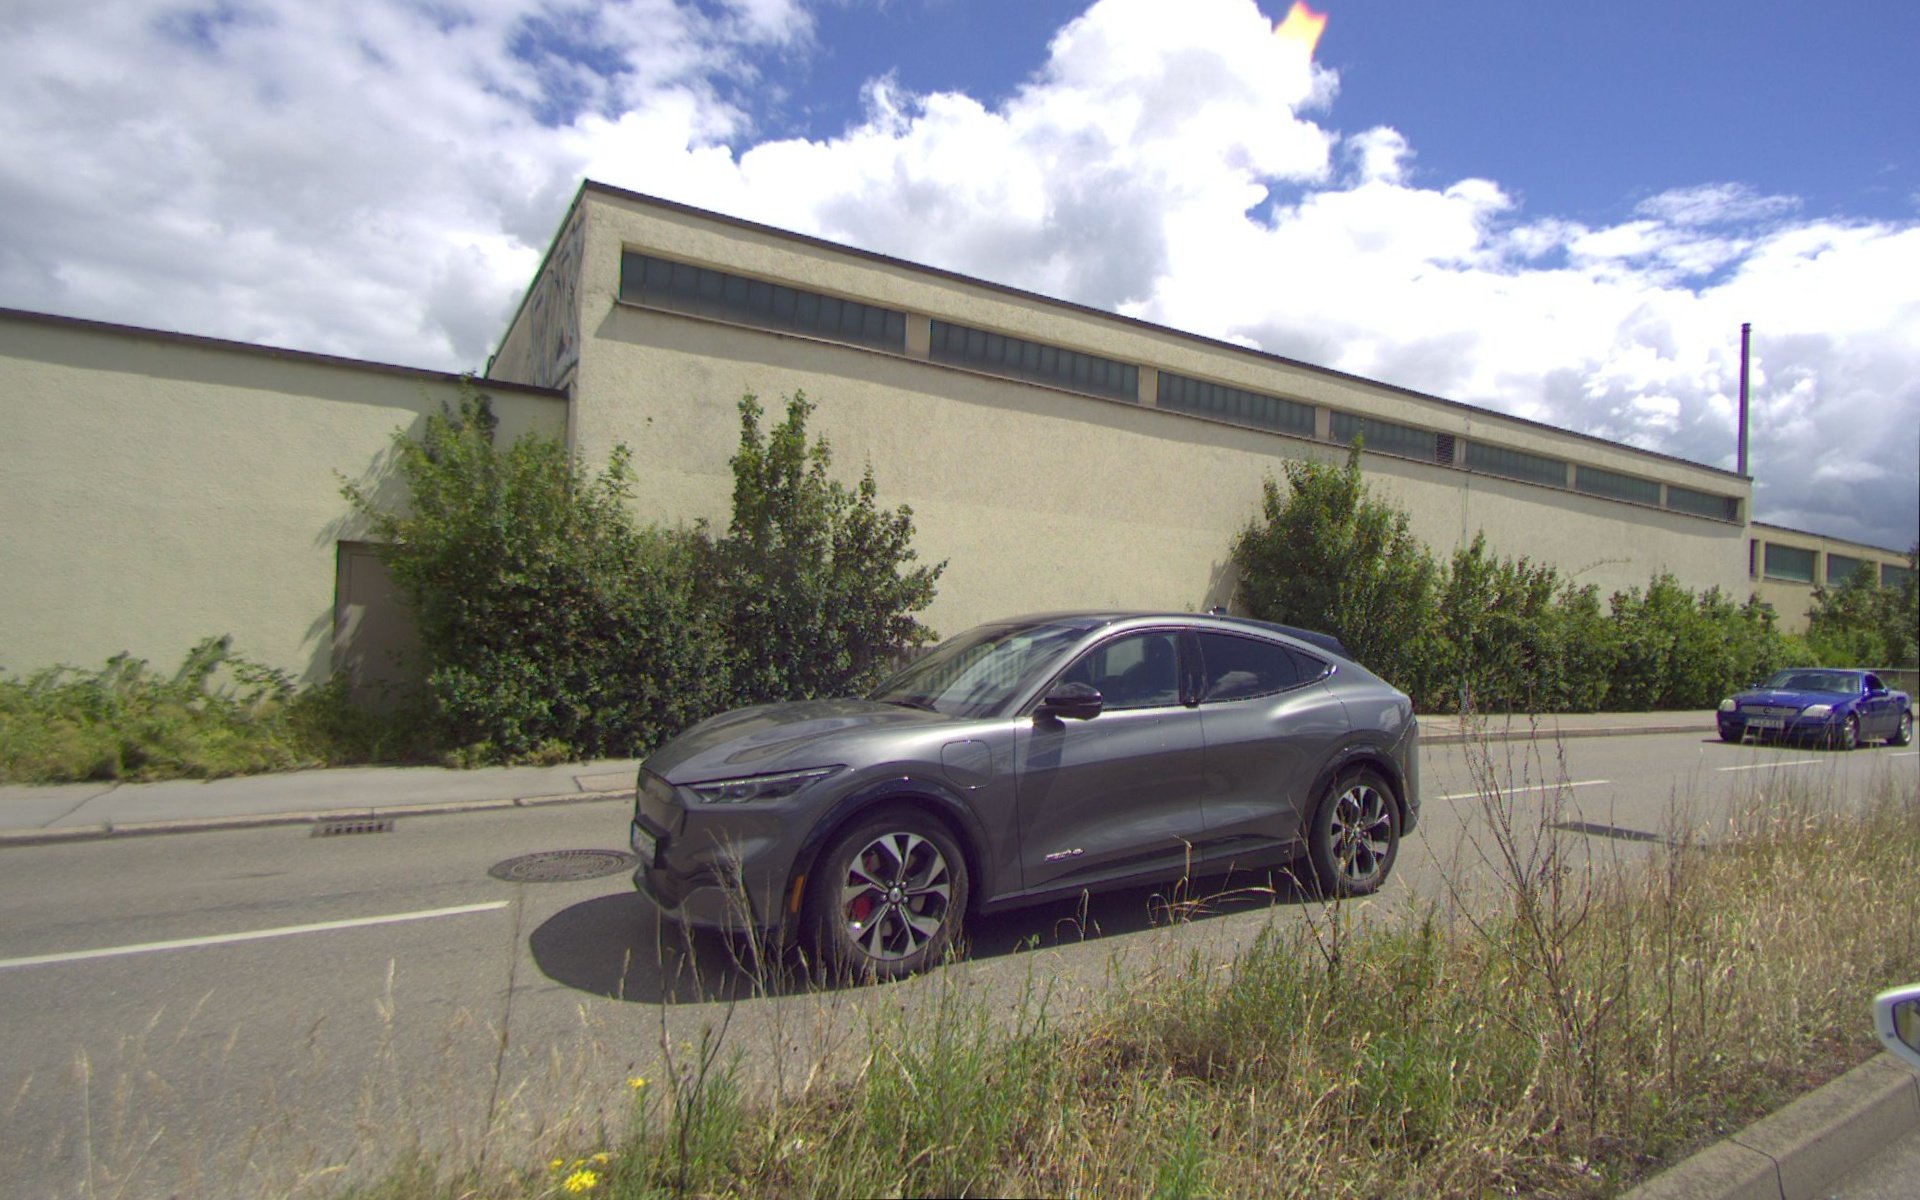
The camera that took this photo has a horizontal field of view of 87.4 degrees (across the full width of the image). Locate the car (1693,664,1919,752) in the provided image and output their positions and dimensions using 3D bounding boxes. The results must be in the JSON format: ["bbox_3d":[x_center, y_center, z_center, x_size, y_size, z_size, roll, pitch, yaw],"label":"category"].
[{"bbox_3d":[14.267,1.743,16.869,3.954,1.292,1.746,2,-3,-31],"label":"car"}]

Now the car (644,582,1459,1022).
[{"bbox_3d":[0.657,0.821,5.727,4.392,1.648,1.869,1,-2,-31],"label":"car"}]
